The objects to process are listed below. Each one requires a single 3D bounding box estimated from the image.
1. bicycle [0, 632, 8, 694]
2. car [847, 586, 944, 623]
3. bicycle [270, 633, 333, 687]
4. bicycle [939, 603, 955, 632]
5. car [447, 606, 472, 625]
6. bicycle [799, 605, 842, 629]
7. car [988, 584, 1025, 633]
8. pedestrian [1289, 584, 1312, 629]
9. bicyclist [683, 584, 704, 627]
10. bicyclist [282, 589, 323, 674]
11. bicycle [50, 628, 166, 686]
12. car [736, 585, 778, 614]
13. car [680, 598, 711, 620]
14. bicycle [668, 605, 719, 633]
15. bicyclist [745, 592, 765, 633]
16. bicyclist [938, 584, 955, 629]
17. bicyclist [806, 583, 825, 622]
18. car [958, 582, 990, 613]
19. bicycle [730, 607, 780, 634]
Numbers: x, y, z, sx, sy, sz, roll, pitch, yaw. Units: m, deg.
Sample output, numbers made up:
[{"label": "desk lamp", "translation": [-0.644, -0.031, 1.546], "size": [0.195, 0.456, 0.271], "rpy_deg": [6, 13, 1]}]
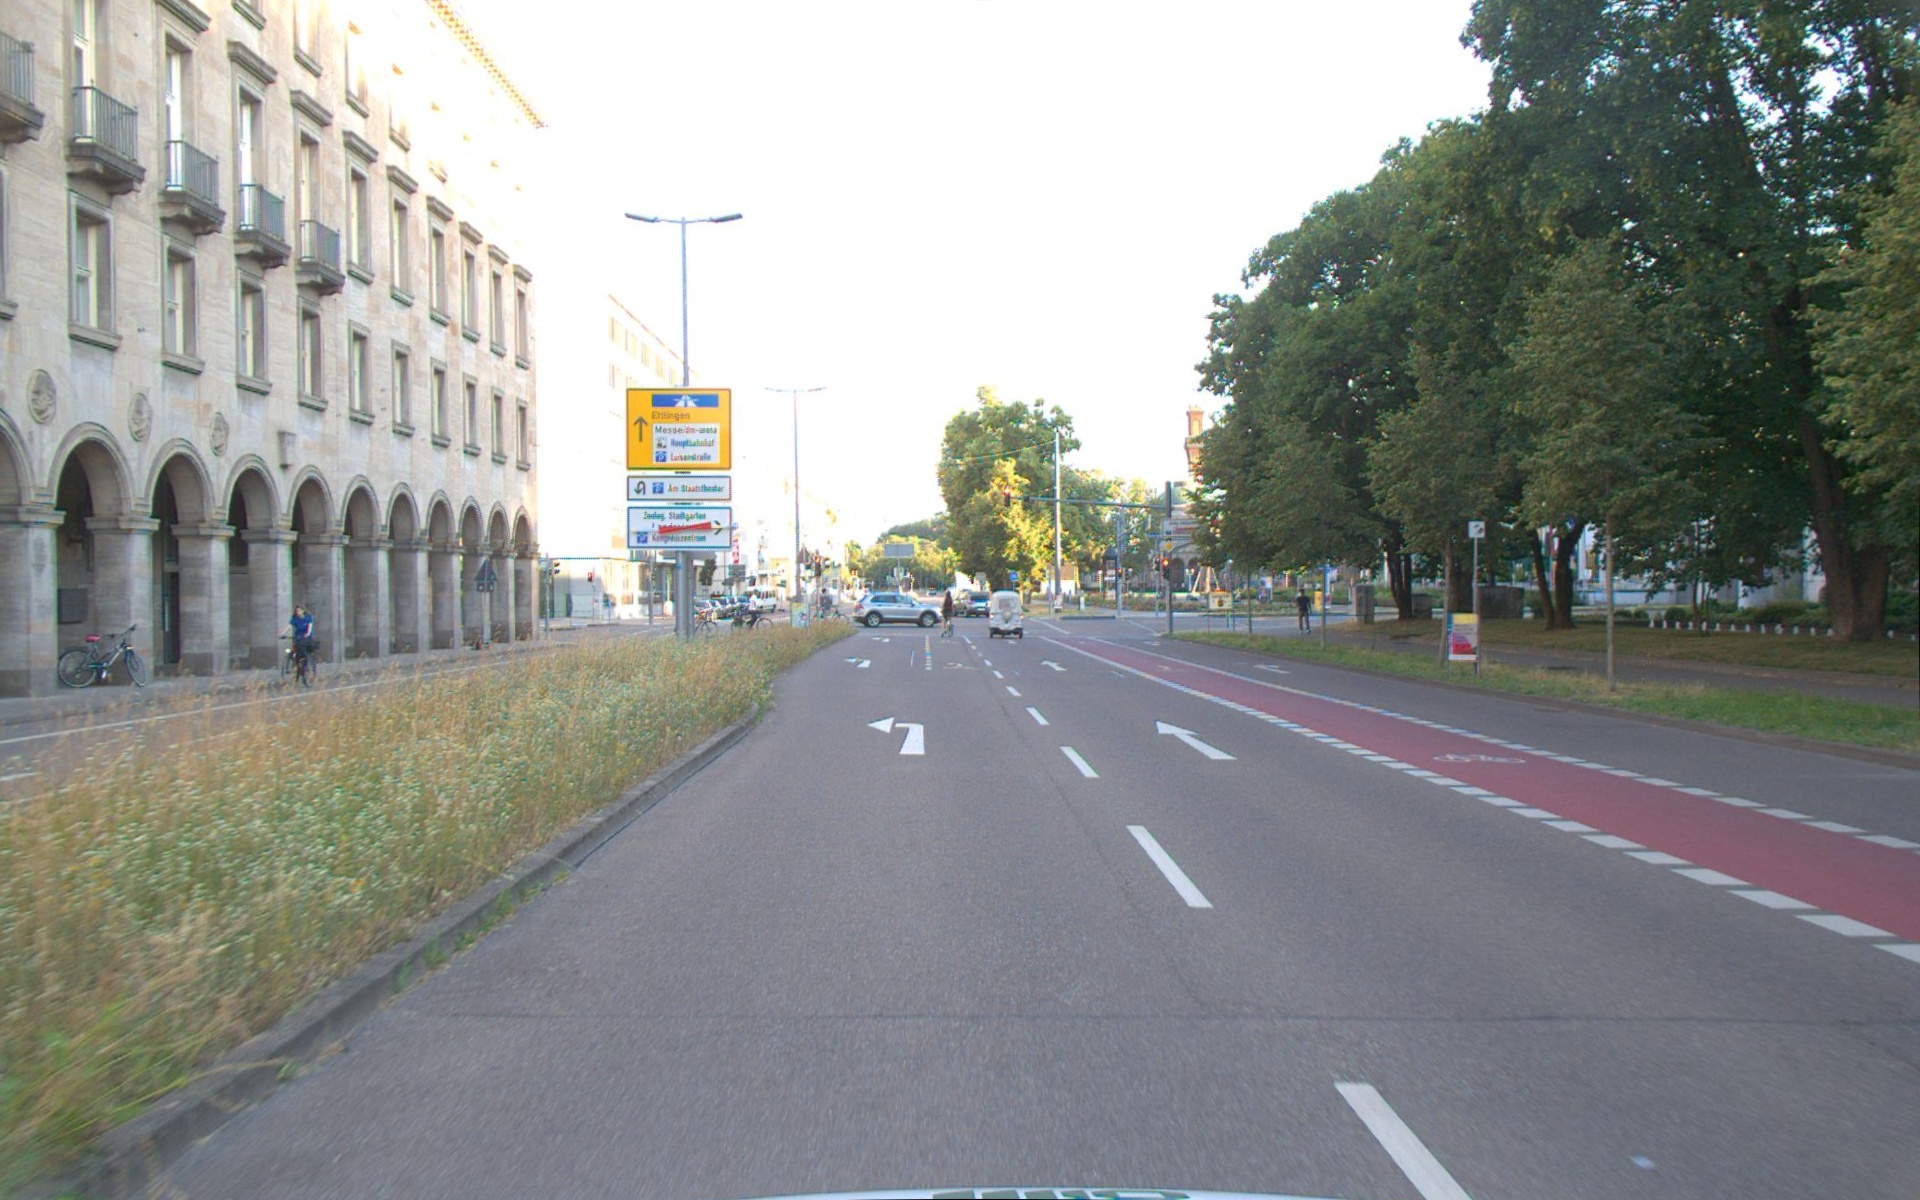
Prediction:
[{"label": "bicycle", "translation": [-16.363, 1.059, 26.624], "size": [0.467, 1.023, 2.006], "rpy_deg": [-1, 0, 17]}, {"label": "car", "translation": [-3.109, 0.211, 79.681], "size": [4.450, 1.677, 1.996], "rpy_deg": [-1, 0, -10]}, {"label": "bicycle", "translation": [-13.541, 1.213, 34.035], "size": [0.530, 1.023, 2.004], "rpy_deg": [-1, 0, -2]}, {"label": "bicycle", "translation": [-0.511, 0.677, 64.472], "size": [0.624, 1.087, 2.068], "rpy_deg": [0, 0, -1]}, {"label": "car", "translation": [-30.099, 0.913, 99.526], "size": [0.836, 1.092, 2.521], "rpy_deg": [-1, 0, -2]}, {"label": "bicycle", "translation": [-6.337, 0.761, 75.218], "size": [1.857, 1.087, 0.731], "rpy_deg": [0, 0, 1]}, {"label": "car", "translation": [1.786, 0.309, 63.960], "size": [1.429, 1.811, 2.565], "rpy_deg": [0, 1, 1]}, {"label": "pedestrian", "translation": [13.198, 0.267, 64.153], "size": [0.681, 1.723, 0.748], "rpy_deg": [-1, 0, -3]}, {"label": "bicyclist", "translation": [-11.004, 0.230, 68.247], "size": [0.731, 1.723, 0.715], "rpy_deg": [-1, 0, -3]}, {"label": "bicyclist", "translation": [-13.546, 0.638, 34.084], "size": [0.525, 1.723, 0.748], "rpy_deg": [-1, 0, -1]}, {"label": "bicycle", "translation": [-16.287, 1.073, 31.666], "size": [0.469, 1.023, 1.999], "rpy_deg": [-1, 0, 34]}, {"label": "car", "translation": [-18.731, -0.058, 152.713], "size": [2.130, 2.427, 5.994], "rpy_deg": [-2, -2, 10]}, {"label": "car", "translation": [-19.654, 0.689, 122.825], "size": [1.760, 1.501, 3.998], "rpy_deg": [-1, -2, -2]}, {"label": "bicycle", "translation": [-10.985, 0.781, 68.231], "size": [1.974, 1.087, 0.731], "rpy_deg": [-1, 0, 0]}, {"label": "bicyclist", "translation": [-8.673, 0.543, 70.148], "size": [0.731, 1.723, 0.765], "rpy_deg": [-1, 0, -1]}, {"label": "bicyclist", "translation": [-0.518, 0.249, 64.157], "size": [0.615, 1.723, 0.748], "rpy_deg": [-1, 0, -2]}, {"label": "bicyclist", "translation": [-6.578, 0.111, 75.231], "size": [0.730, 1.723, 0.715], "rpy_deg": [-1, 0, 1]}, {"label": "car", "translation": [0.922, -0.161, 112.176], "size": [1.953, 2.049, 3.998], "rpy_deg": [-1, 0, -2]}, {"label": "bicycle", "translation": [-8.684, 0.871, 70.126], "size": [2.017, 1.087, 0.786], "rpy_deg": [-1, 0, -3]}]
